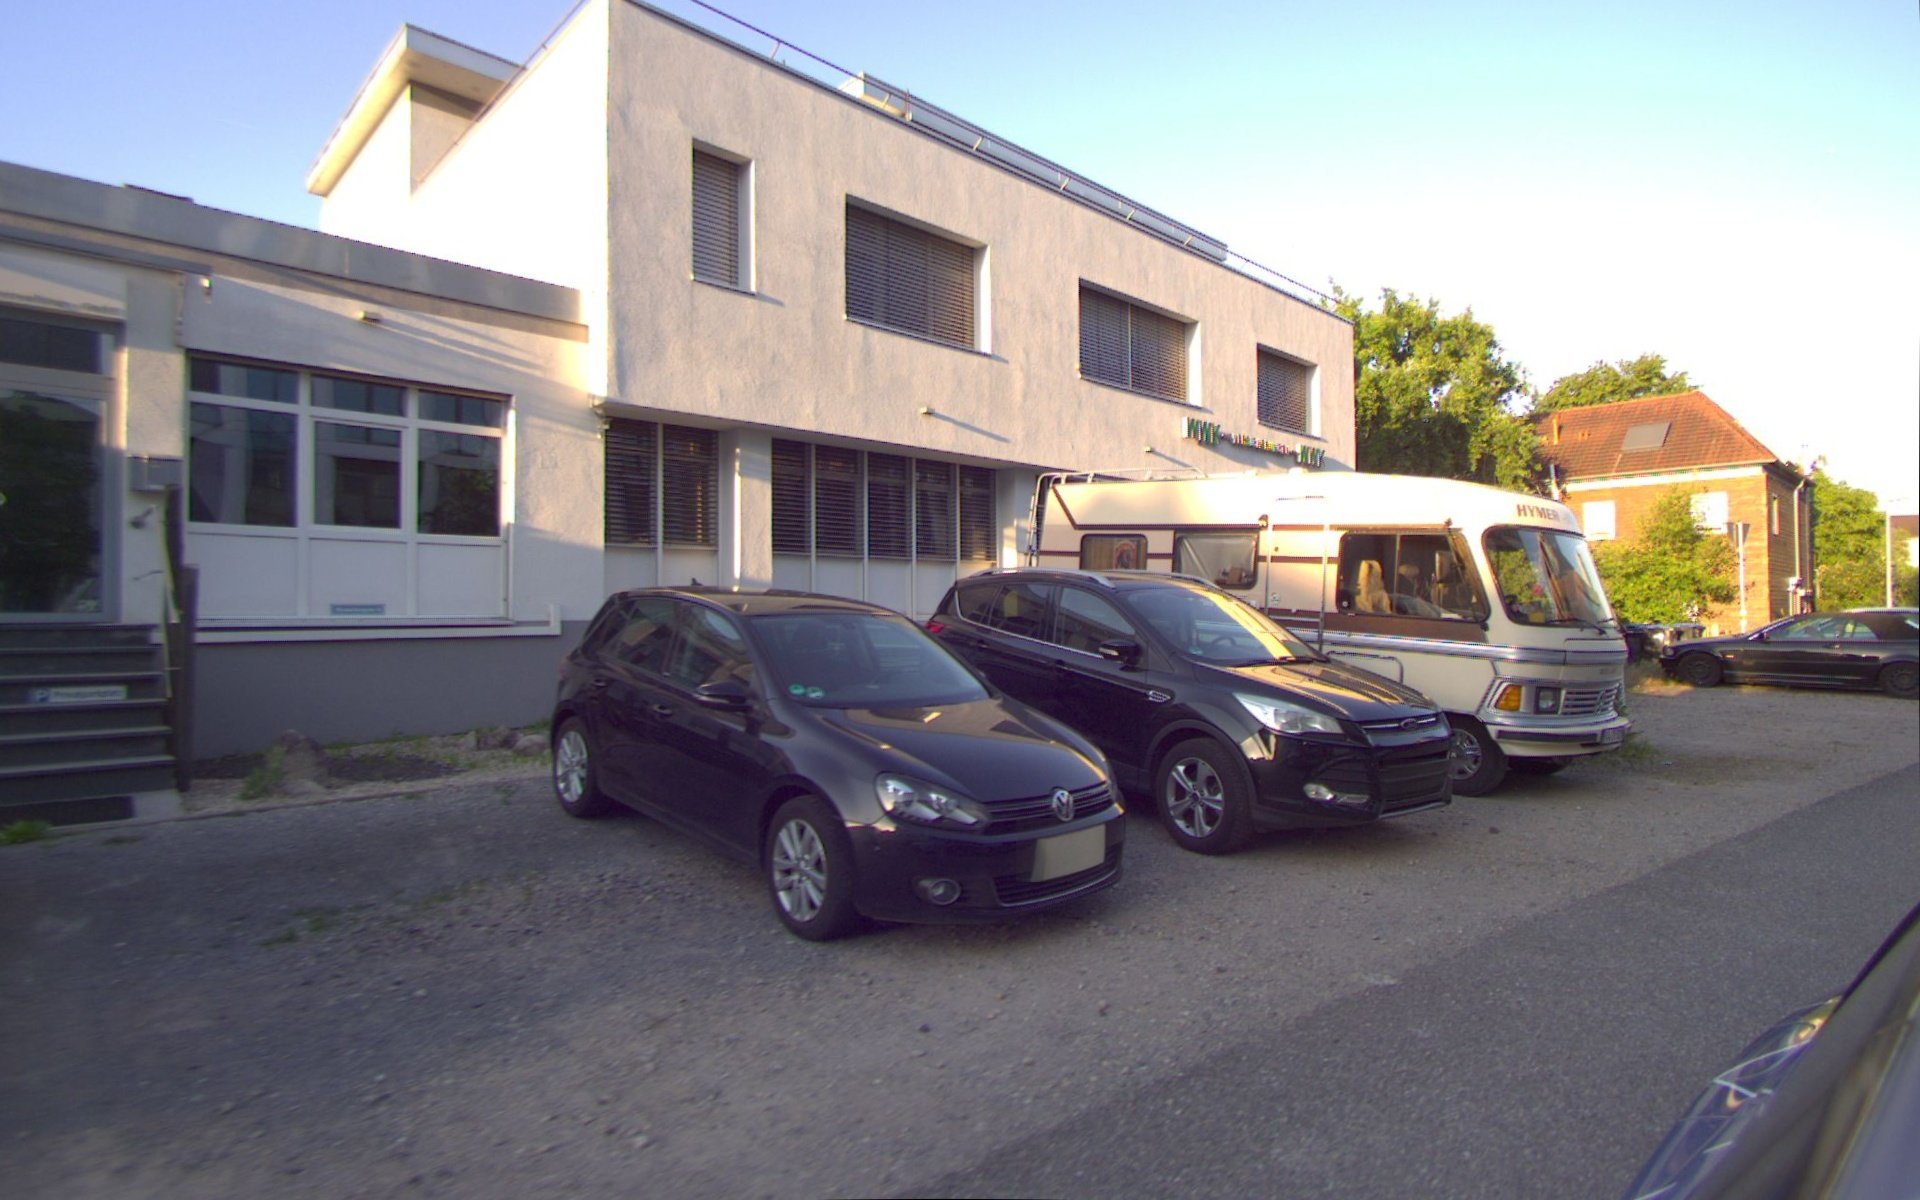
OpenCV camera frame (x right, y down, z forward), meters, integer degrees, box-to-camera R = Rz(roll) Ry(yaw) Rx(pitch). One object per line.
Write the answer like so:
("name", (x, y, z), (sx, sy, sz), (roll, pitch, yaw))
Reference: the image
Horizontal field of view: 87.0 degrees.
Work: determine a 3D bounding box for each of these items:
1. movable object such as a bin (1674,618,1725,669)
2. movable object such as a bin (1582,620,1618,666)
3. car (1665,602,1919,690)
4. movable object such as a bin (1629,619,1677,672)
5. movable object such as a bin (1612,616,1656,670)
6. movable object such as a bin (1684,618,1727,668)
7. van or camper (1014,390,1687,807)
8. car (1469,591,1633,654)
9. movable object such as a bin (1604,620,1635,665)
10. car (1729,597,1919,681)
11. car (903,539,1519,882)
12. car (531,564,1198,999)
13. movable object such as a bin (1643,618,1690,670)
("movable object such as a bin", (15.353, 0.895, 21.011), (0.755, 1.034, 0.701), (-2, -2, 42))
("movable object such as a bin", (12.431, 0.823, 19.664), (0.499, 0.868, 0.389), (-2, -2, 44))
("car", (14.878, 0.724, 17.318), (1.863, 1.350, 4.322), (0, 0, -41))
("movable object such as a bin", (13.946, 0.897, 20.369), (0.704, 1.034, 0.701), (-2, -2, 42))
("movable object such as a bin", (13.356, 0.842, 20.064), (0.621, 1.034, 0.552), (-2, -2, 44))
("movable object such as a bin", (15.816, 0.894, 21.473), (0.642, 1.034, 0.701), (-2, -2, 42))
("van or camper", (3.408, -0.031, 10.047), (2.443, 2.900, 5.790), (0, 0, -40))
("car", (17.676, 0.683, 30.393), (1.753, 1.789, 3.942), (3, -3, -44))
("movable object such as a bin", (12.866, 0.822, 19.747), (0.414, 0.868, 0.389), (-2, -2, 44))
("car", (16.879, 0.686, 18.626), (1.863, 1.425, 4.062), (1, 0, -41))
("car", (1.500, 0.555, 7.526), (1.930, 1.763, 4.255), (0, 0, -35))
("car", (-0.830, 0.656, 5.745), (1.683, 1.583, 4.008), (0, 0, -43))
("movable object such as a bin", (14.575, 0.896, 20.872), (0.704, 1.034, 0.701), (-2, -2, 42))
